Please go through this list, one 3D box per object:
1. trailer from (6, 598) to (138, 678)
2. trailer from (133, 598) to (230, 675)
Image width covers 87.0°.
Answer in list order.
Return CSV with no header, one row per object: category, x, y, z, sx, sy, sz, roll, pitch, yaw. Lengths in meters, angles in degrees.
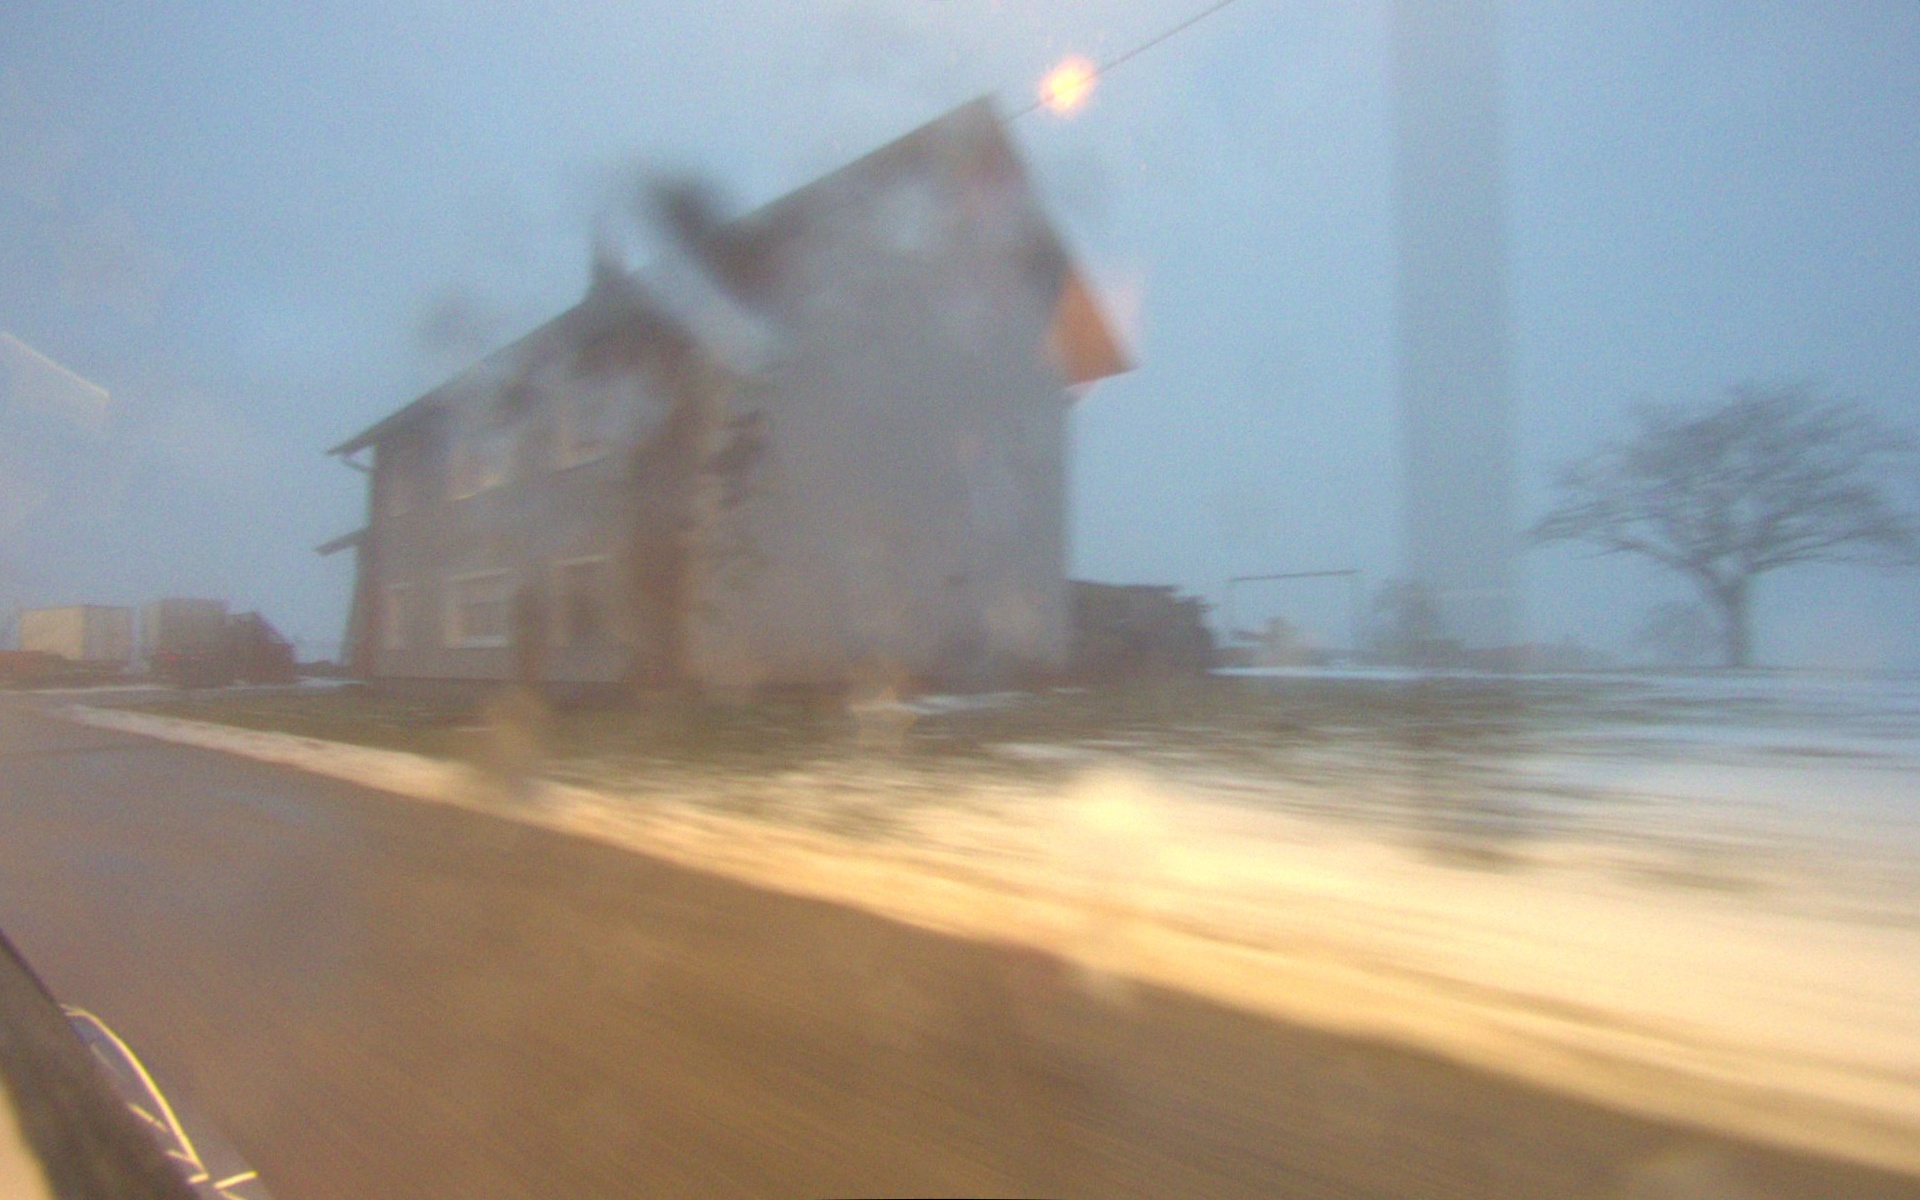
trailer,-30.546,1.339,34.831,3.413,2.625,1.686,-1,-6,16
trailer,-27.703,1.381,35.992,4.010,2.509,1.971,-5,-7,43
